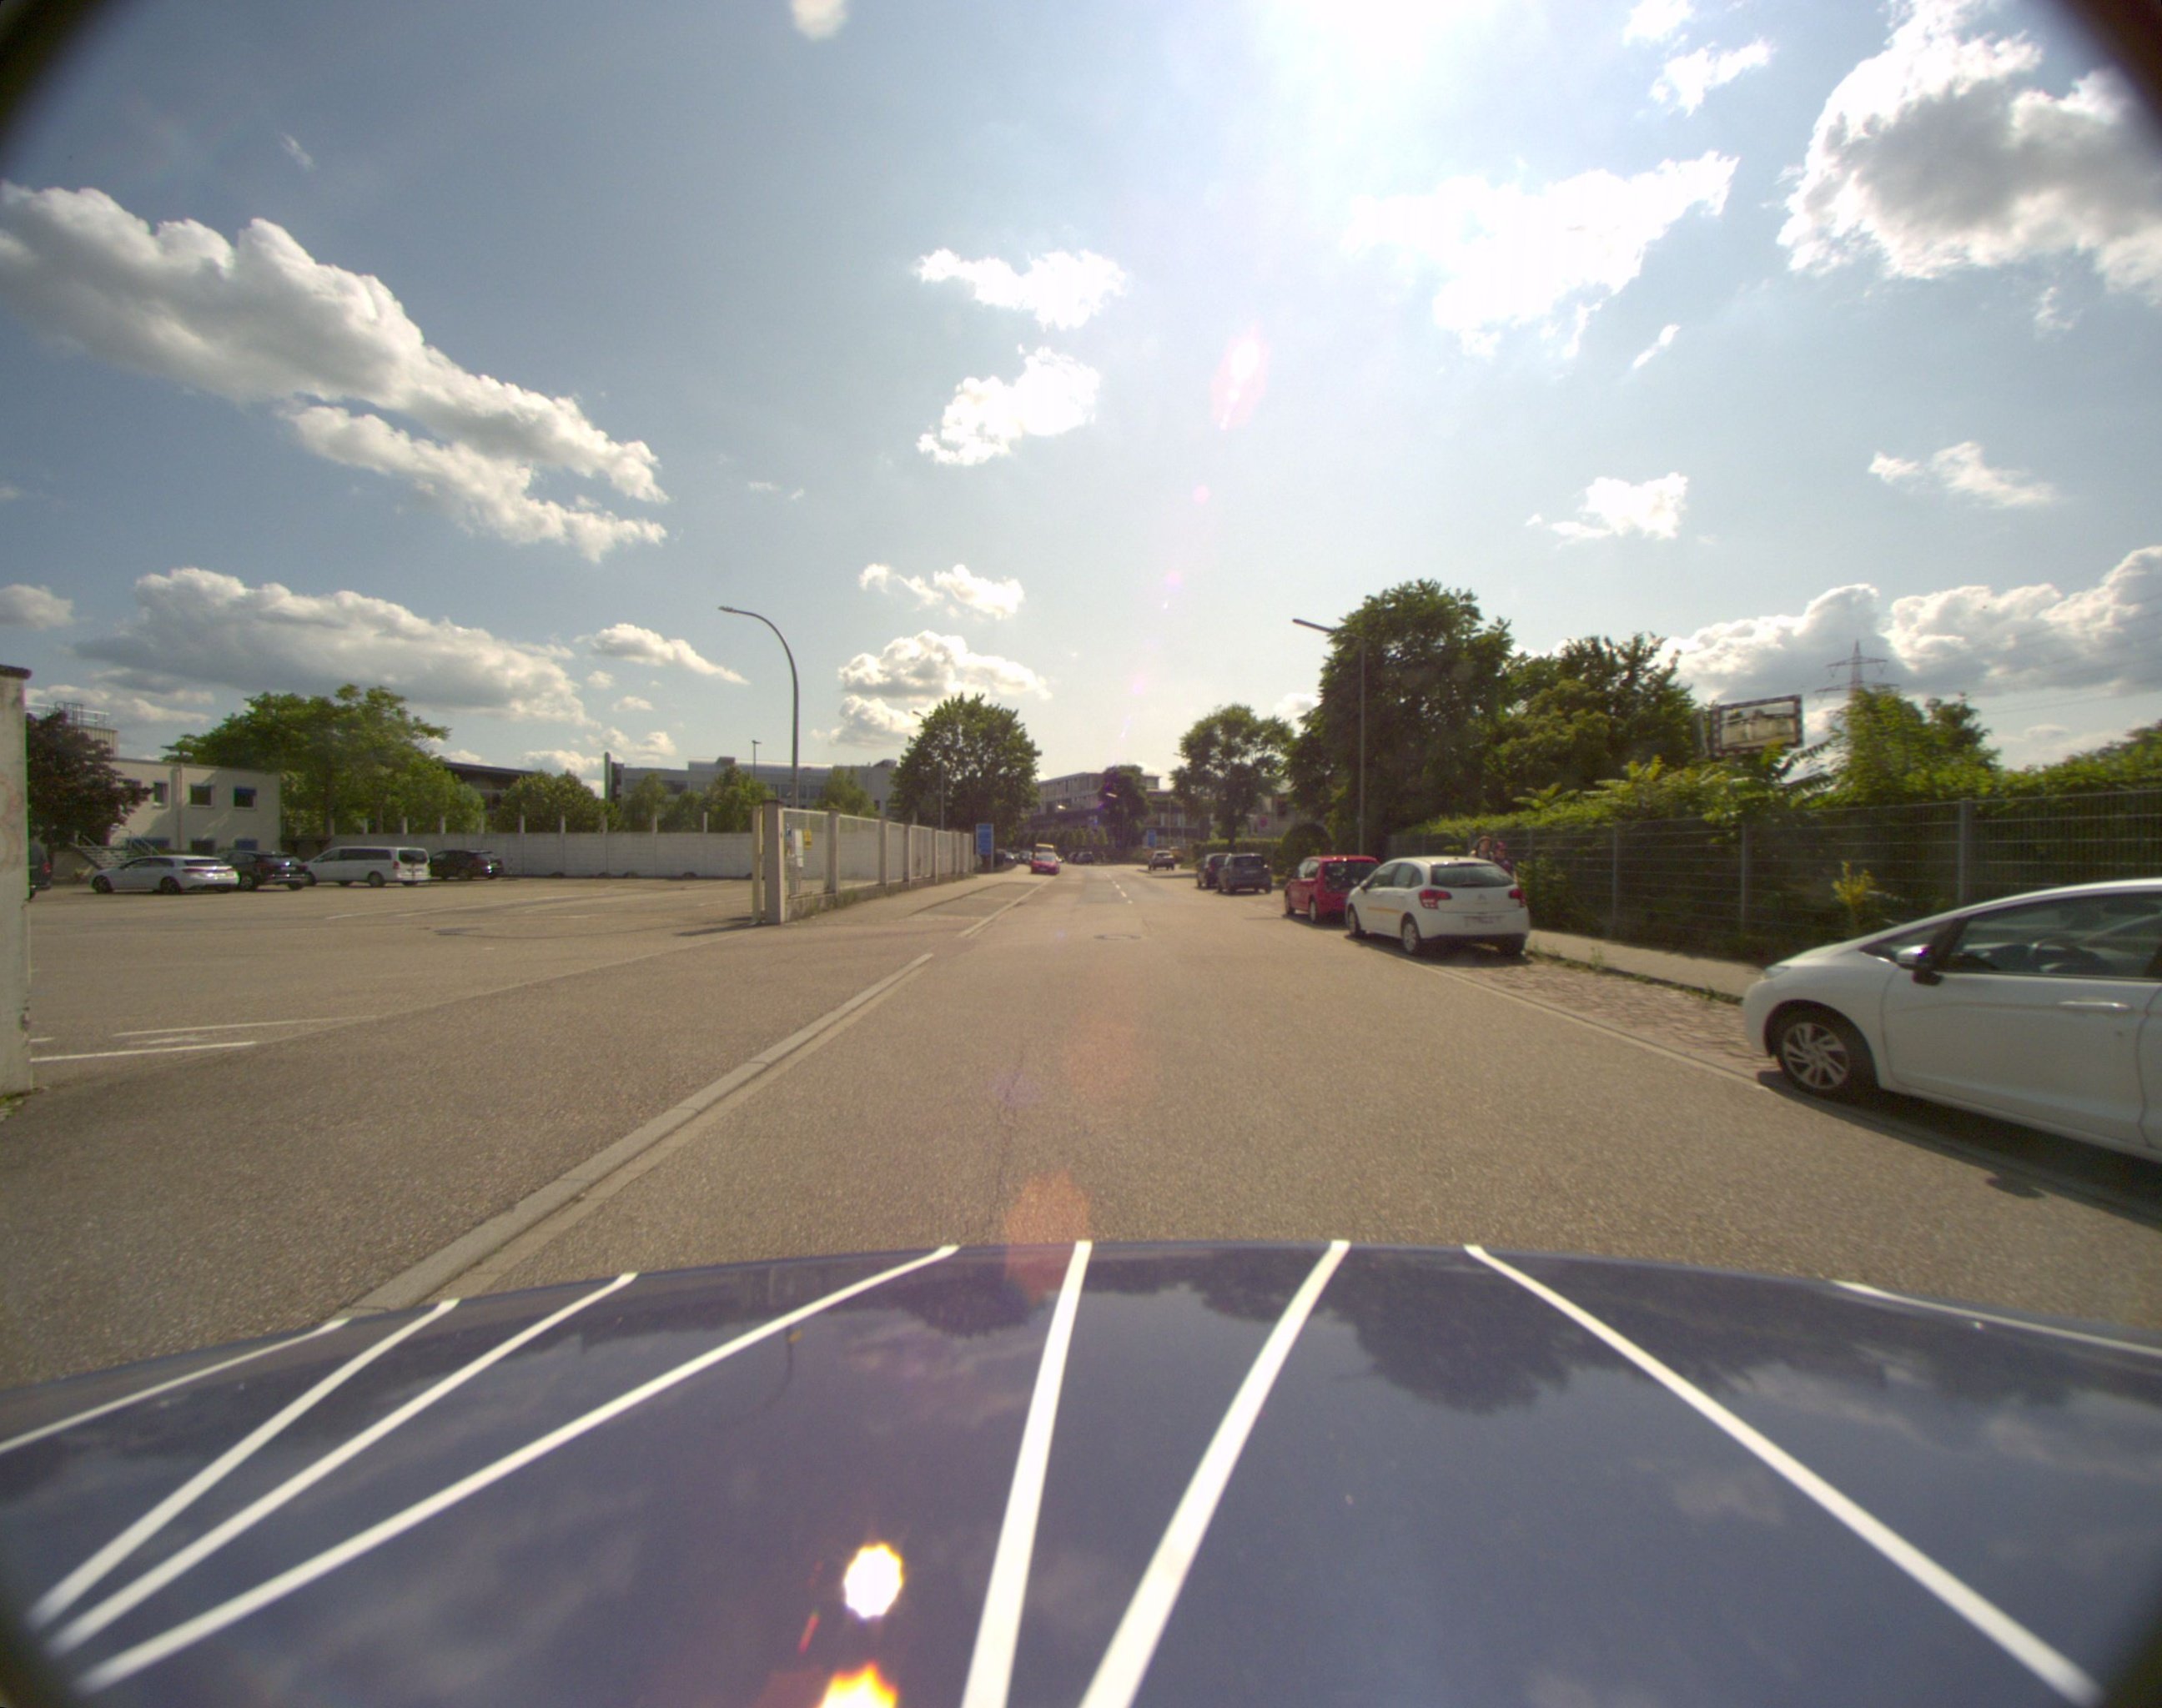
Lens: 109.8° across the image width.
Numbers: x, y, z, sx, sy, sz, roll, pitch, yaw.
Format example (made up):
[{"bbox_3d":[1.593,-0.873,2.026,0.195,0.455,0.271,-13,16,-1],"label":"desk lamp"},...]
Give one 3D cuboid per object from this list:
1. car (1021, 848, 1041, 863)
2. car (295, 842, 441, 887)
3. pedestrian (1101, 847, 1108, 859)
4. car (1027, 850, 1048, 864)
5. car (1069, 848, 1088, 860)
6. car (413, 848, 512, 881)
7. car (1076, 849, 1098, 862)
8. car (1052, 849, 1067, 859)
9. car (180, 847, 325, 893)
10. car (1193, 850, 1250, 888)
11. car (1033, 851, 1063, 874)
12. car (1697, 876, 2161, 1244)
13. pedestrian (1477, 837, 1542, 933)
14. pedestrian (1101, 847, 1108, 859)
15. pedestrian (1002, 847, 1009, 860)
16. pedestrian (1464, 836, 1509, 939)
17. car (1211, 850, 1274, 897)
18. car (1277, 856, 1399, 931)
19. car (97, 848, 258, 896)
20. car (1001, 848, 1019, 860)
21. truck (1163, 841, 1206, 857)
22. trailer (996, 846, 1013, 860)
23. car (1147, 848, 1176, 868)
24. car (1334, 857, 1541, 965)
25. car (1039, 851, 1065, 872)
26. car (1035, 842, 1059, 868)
[{"bbox_3d":[-6.374,0.148,95.740,1.856,1.755,5.071,2,0,-11],"label":"car"},{"bbox_3d":[-33.731,0.470,36.042,5.066,1.937,1.934,2,1,-1],"label":"car"},{"bbox_3d":[3.265,-0.122,104.394,0.845,1.682,0.830,-2,2,-8],"label":"pedestrian"},{"bbox_3d":[-5.127,0.325,89.454,1.839,1.484,4.650,1,0,-12],"label":"car"},{"bbox_3d":[-0.420,0.035,110.318,1.782,1.673,4.224,-2,1,-14],"label":"car"},{"bbox_3d":[-33.565,0.580,41.289,3.994,1.641,1.918,-1,1,10],"label":"car"},{"bbox_3d":[0.778,0.199,104.883,1.806,1.641,4.683,-1,1,-14],"label":"car"},{"bbox_3d":[-3.412,0.017,120.373,1.615,1.514,3.069,-1,1,-17],"label":"car"},{"bbox_3d":[-33.892,0.622,31.142,3.919,1.630,1.935,2,1,3],"label":"car"},{"bbox_3d":[6.293,0.618,34.406,1.849,1.499,4.000,-3,1,1],"label":"car"},{"bbox_3d":[-2.276,0.570,53.250,1.758,1.478,4.224,4,1,1],"label":"car"},{"bbox_3d":[5.524,0.943,3.666,1.624,1.513,4.174,0,0,-2],"label":"car"},{"bbox_3d":[8.173,0.572,14.533,0.710,1.791,0.916,0,2,1],"label":"pedestrian"},{"bbox_3d":[3.220,-0.138,105.525,0.831,1.751,0.844,-2,2,-8],"label":"pedestrian"},{"bbox_3d":[-10.146,-0.114,102.668,0.724,1.683,0.738,4,-1,-14],"label":"pedestrian"},{"bbox_3d":[7.565,0.611,14.199,0.452,1.883,0.677,0,2,1],"label":"pedestrian"},{"bbox_3d":[6.257,0.704,29.745,1.655,1.636,3.273,-3,1,-1],"label":"car"},{"bbox_3d":[5.810,0.825,17.625,1.670,1.458,3.743,-1,1,2],"label":"car"},{"bbox_3d":[-34.092,0.646,28.751,3.919,1.630,1.935,2,1,3],"label":"car"},{"bbox_3d":[-10.669,0.049,113.748,1.868,1.673,4.703,2,0,-16],"label":"car"},{"bbox_3d":[17.118,-0.886,125.788,6.944,2.642,2.400,0,1,-25],"label":"truck"},{"bbox_3d":[-11.877,-0.201,117.931,1.753,2.055,3.941,3,0,-17],"label":"trailer"},{"bbox_3d":[6.794,0.315,64.257,1.762,1.565,4.475,-1,1,-3],"label":"car"},{"bbox_3d":[5.780,0.831,12.908,1.649,1.469,4.028,0,1,0],"label":"car"},{"bbox_3d":[-2.280,0.543,58.478,1.705,1.478,3.805,3,1,-5],"label":"car"},{"bbox_3d":[-3.559,0.033,77.614,2.163,2.450,6.635,1,1,-5],"label":"car"}]
